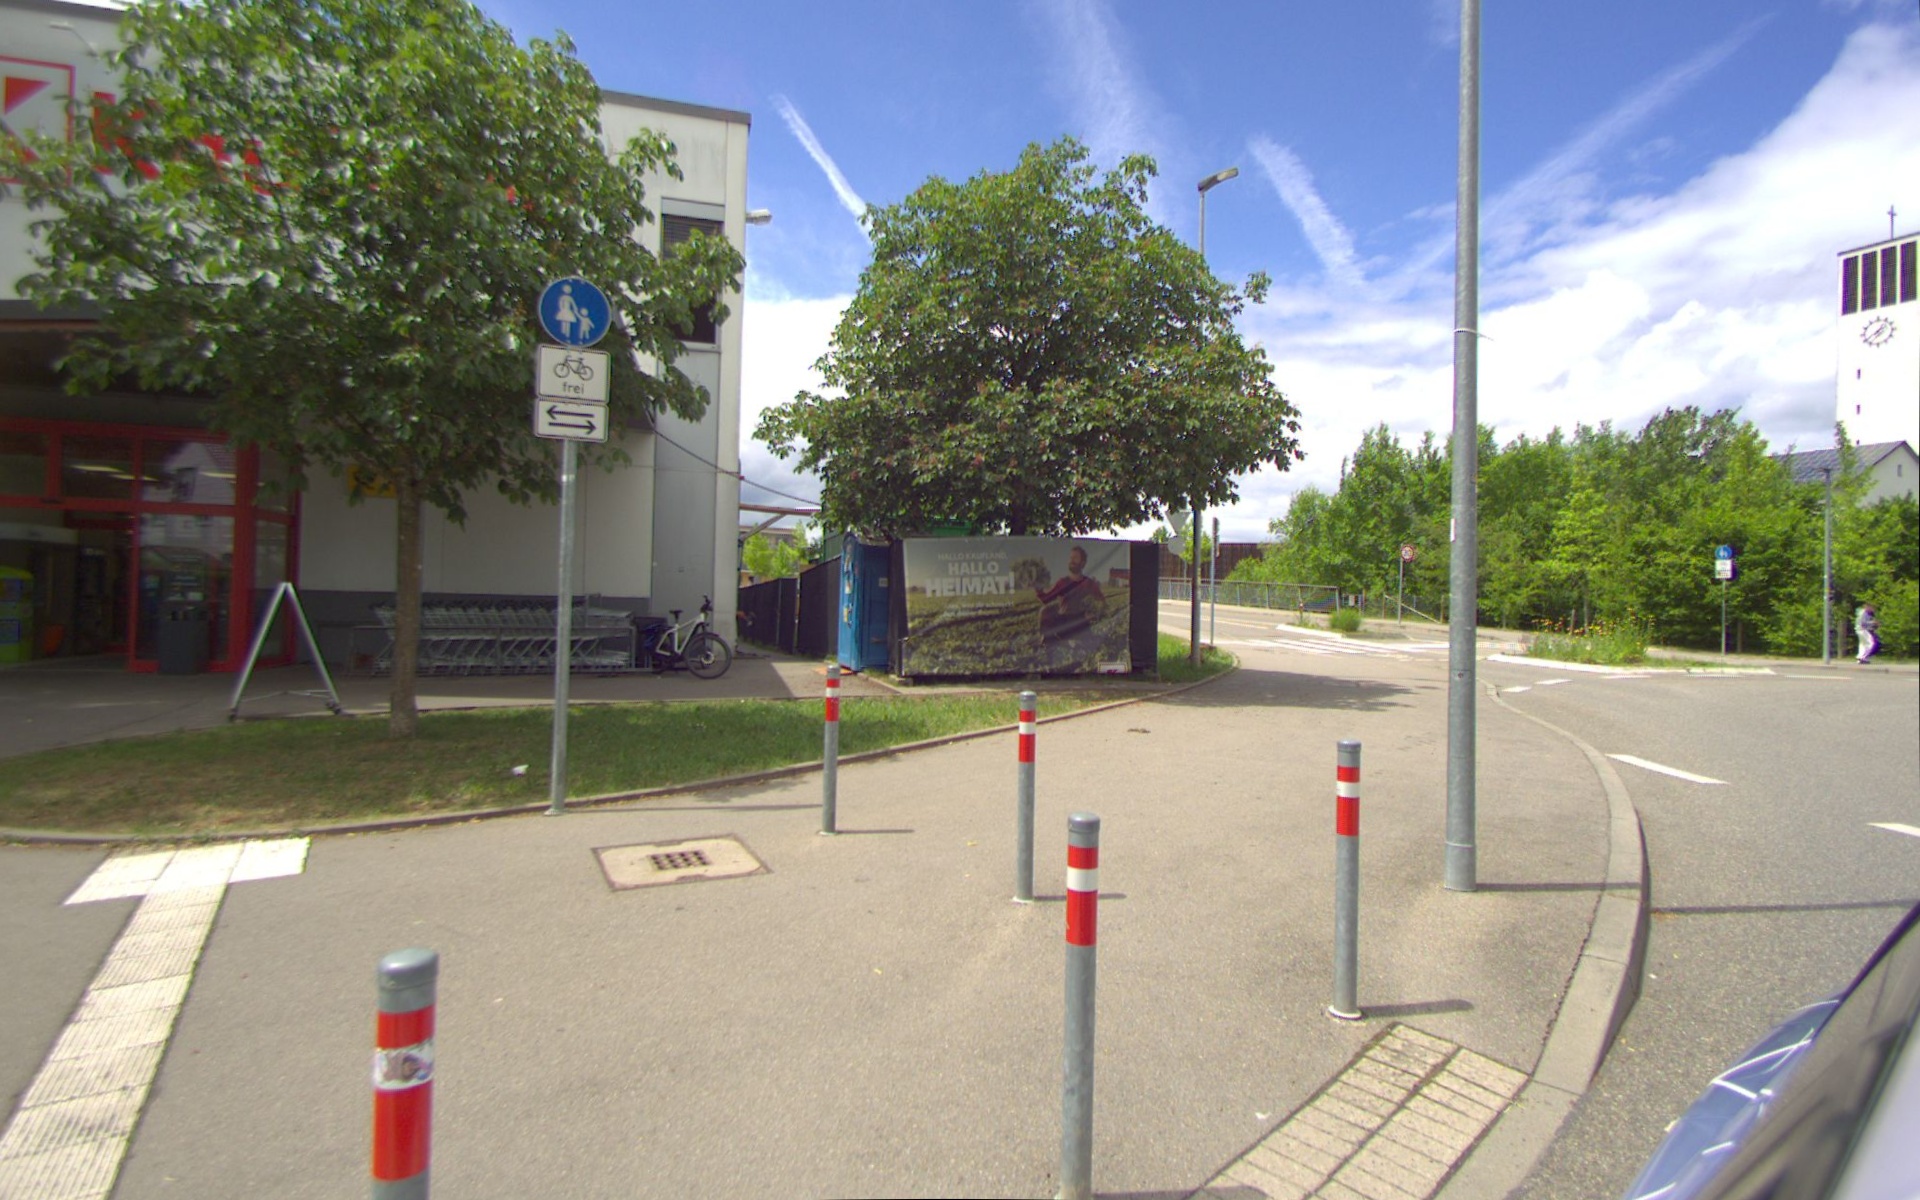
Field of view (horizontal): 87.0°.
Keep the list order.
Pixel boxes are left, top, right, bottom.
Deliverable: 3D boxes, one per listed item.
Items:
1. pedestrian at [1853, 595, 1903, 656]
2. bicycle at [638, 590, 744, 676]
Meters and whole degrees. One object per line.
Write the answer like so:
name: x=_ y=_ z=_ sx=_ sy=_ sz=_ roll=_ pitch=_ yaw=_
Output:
pedestrian: x=23.916 y=0.668 z=26.377 sx=0.943 sy=1.553 sz=0.459 roll=1 pitch=-1 yaw=-9
bicycle: x=-4.123 y=0.480 z=15.439 sx=1.765 sy=1.250 sz=0.704 roll=-1 pitch=-1 yaw=41
